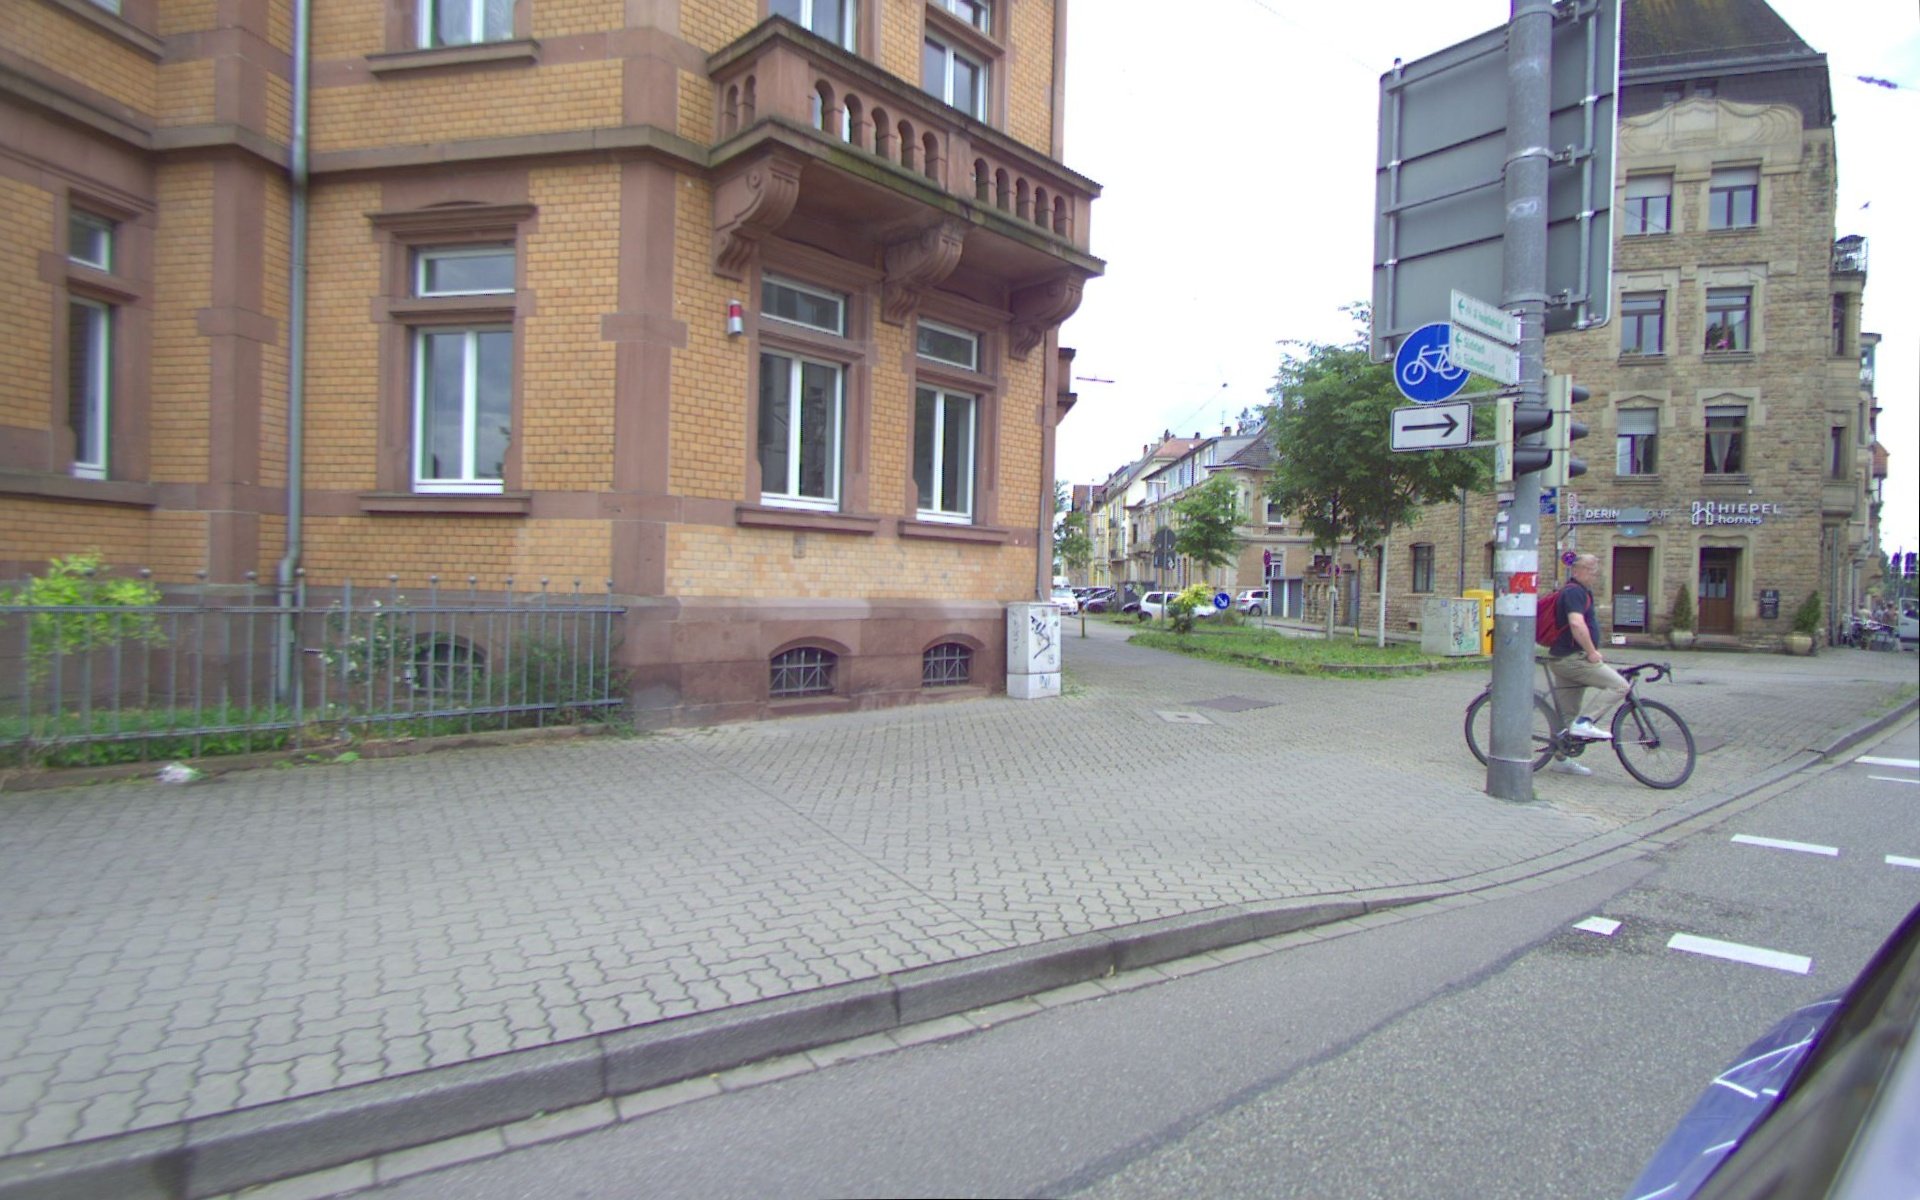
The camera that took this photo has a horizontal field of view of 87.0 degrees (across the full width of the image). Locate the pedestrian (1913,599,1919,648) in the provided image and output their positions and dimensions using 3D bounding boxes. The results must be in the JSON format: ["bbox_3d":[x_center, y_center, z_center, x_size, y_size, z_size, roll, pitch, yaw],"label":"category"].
[{"bbox_3d":[36.409,0.885,38.223,0.499,1.837,0.790,5,2,44],"label":"pedestrian"}]

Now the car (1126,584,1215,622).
[{"bbox_3d":[9.500,0.113,45.694,3.520,1.451,1.686,4,2,35],"label":"car"}]

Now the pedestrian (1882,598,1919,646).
[{"bbox_3d":[34.955,0.800,37.597,0.858,1.720,0.532,4,2,30],"label":"pedestrian"}]

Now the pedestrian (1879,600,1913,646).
[{"bbox_3d":[36.348,0.875,39.305,0.695,1.720,0.490,4,2,16],"label":"pedestrian"}]

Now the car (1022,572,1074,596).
[{"bbox_3d":[9.855,-1.806,113.409,5.297,2.534,2.317,2,1,37],"label":"car"}]

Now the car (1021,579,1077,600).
[{"bbox_3d":[9.183,-1.083,104.198,5.297,2.048,2.317,3,1,37],"label":"car"}]

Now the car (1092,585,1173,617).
[{"bbox_3d":[9.435,0.034,55.379,4.009,1.451,1.737,4,2,29],"label":"car"}]

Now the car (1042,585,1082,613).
[{"bbox_3d":[5.858,-0.081,58.706,1.721,1.451,4.046,3,2,-2],"label":"car"}]

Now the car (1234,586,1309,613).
[{"bbox_3d":[19.061,-0.040,62.054,3.971,1.451,1.754,3,2,4],"label":"car"}]

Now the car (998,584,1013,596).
[{"bbox_3d":[5.753,-1.269,127.302,1.723,1.451,4.043,3,2,1],"label":"car"}]

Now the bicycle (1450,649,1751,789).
[{"bbox_3d":[5.021,0.905,8.066,1.839,0.935,0.794,1,0,12],"label":"bicycle"}]

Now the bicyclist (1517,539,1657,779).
[{"bbox_3d":[5.060,0.442,8.219,0.671,1.818,0.888,1,0,12],"label":"bicyclist"}]

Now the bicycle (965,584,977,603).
[{"bbox_3d":[0.626,-0.366,57.321,0.558,1.015,1.777,1,1,4],"label":"bicycle"}]

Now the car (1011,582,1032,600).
[{"bbox_3d":[5.765,-0.862,95.351,1.723,1.451,4.043,3,2,1],"label":"car"}]

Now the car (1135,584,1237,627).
[{"bbox_3d":[8.933,0.189,40.044,3.516,1.451,1.688,4,2,32],"label":"car"}]
